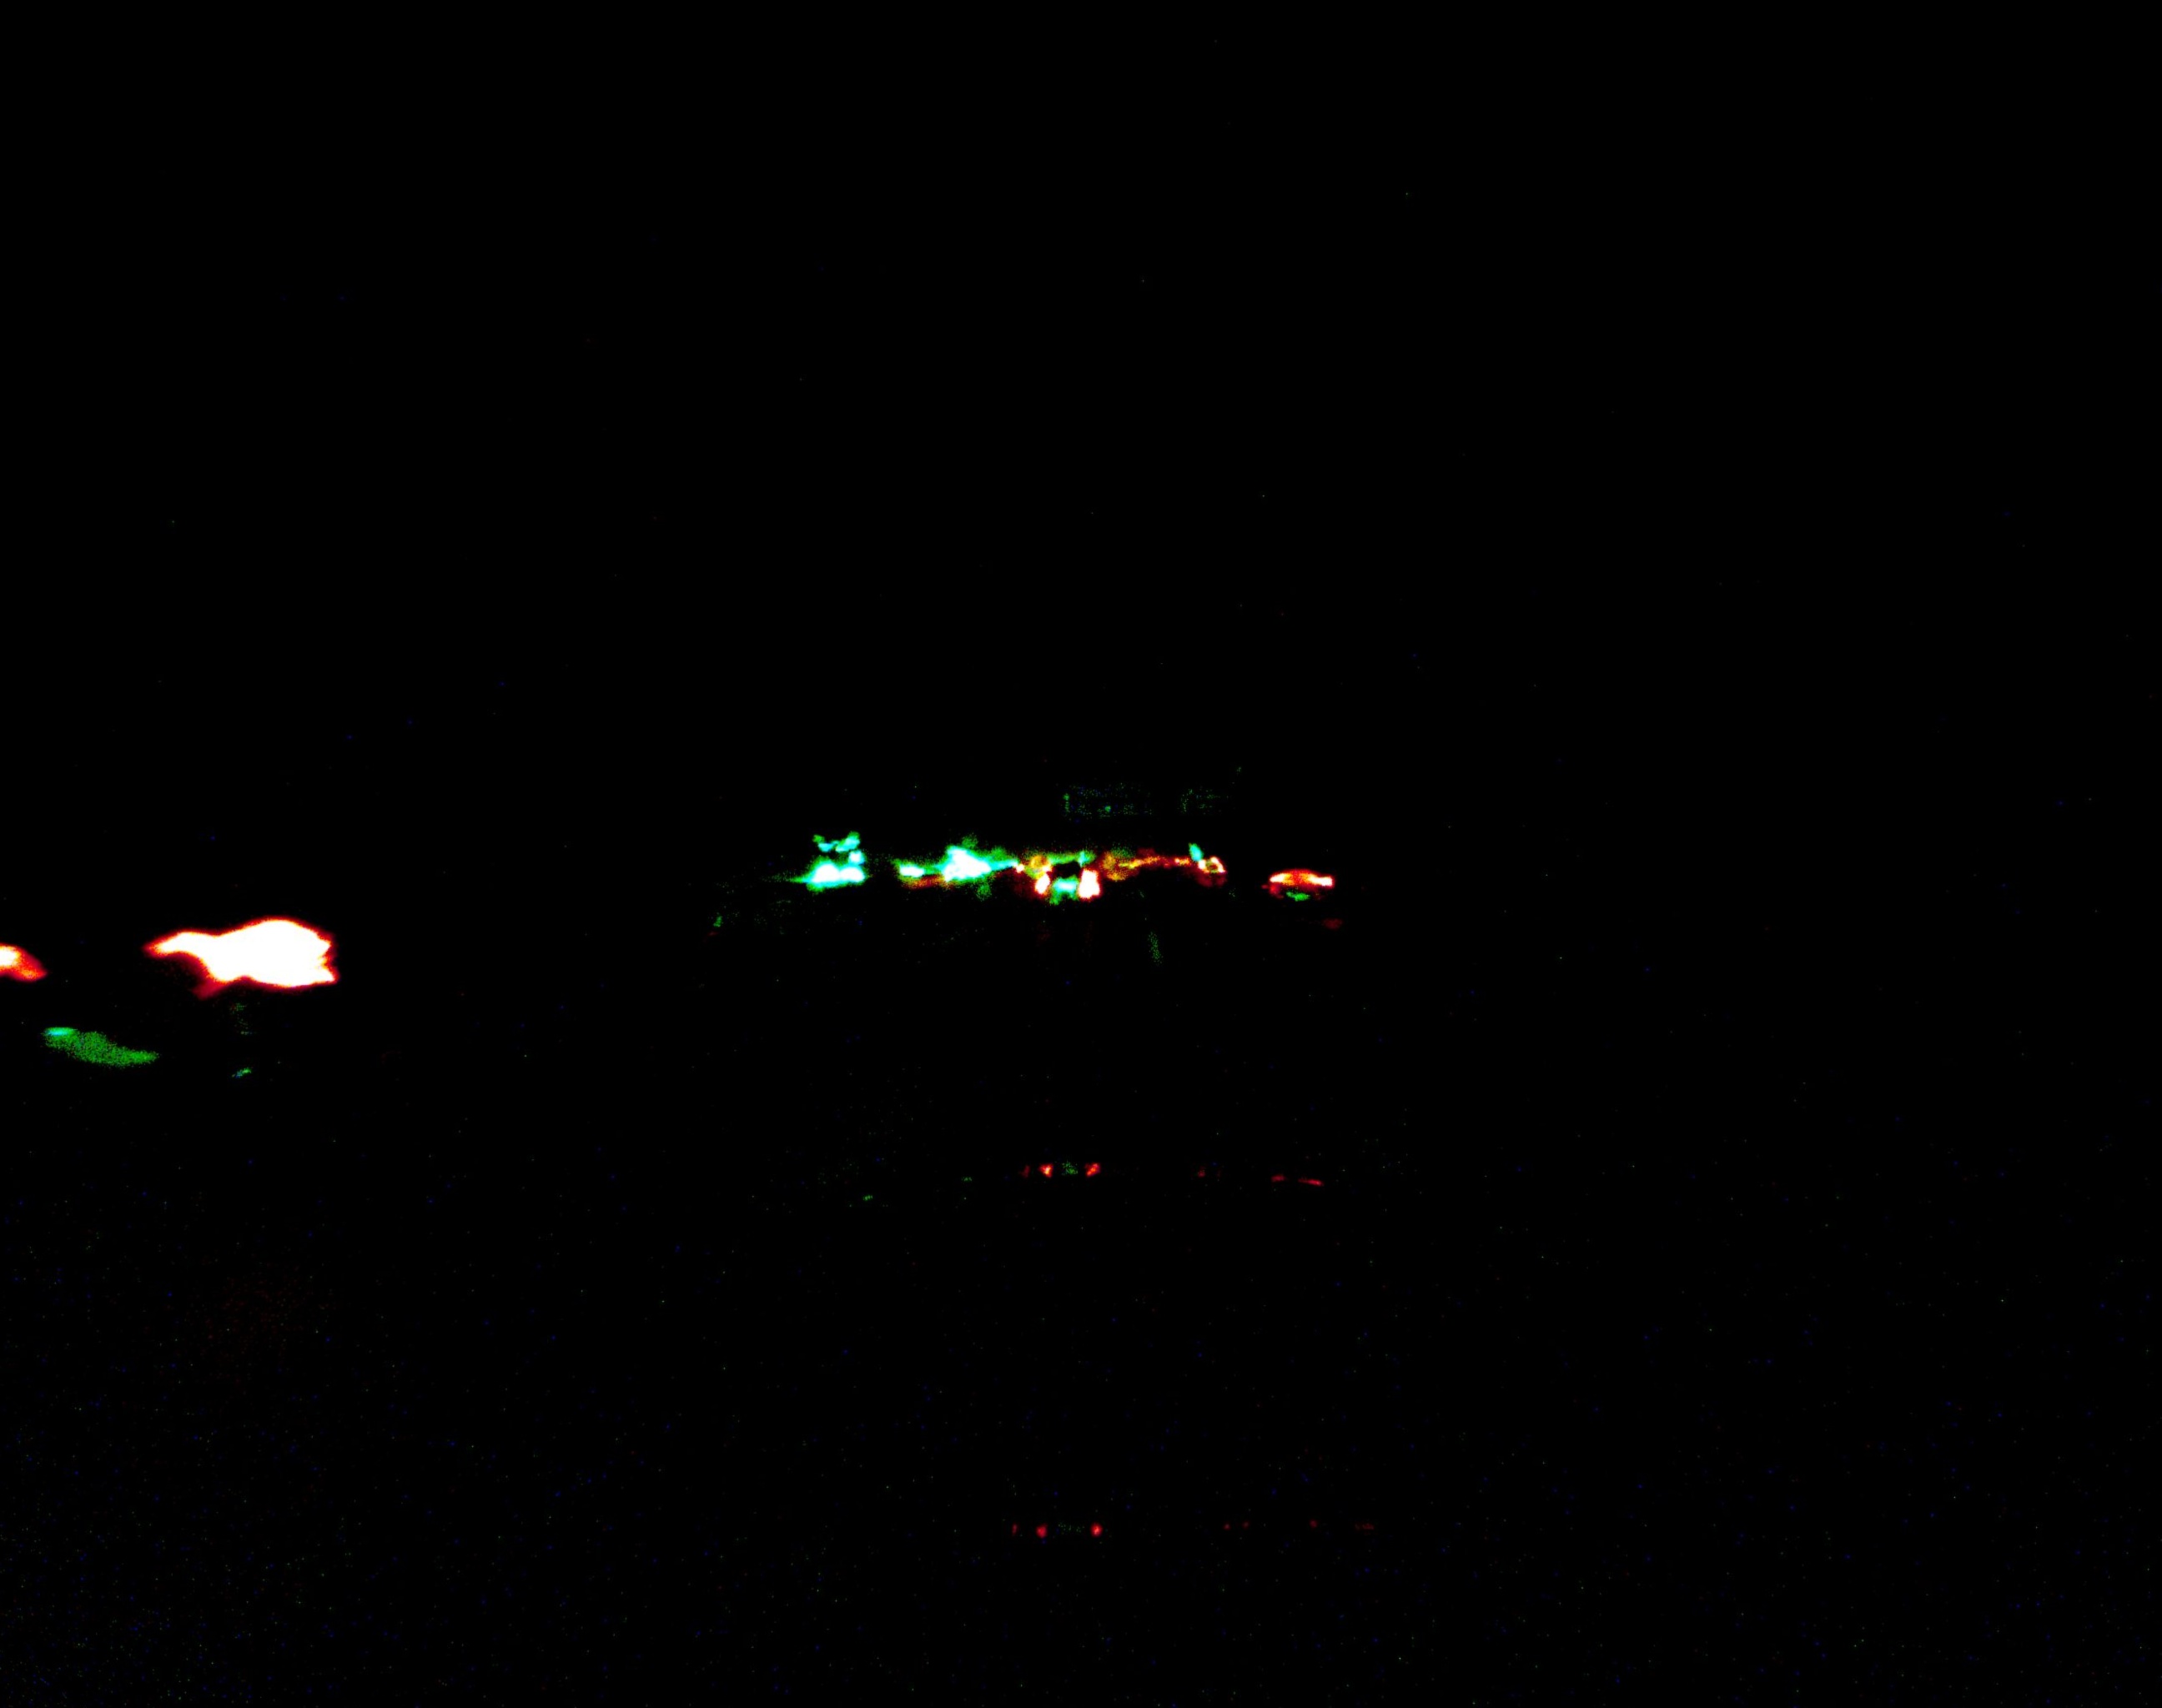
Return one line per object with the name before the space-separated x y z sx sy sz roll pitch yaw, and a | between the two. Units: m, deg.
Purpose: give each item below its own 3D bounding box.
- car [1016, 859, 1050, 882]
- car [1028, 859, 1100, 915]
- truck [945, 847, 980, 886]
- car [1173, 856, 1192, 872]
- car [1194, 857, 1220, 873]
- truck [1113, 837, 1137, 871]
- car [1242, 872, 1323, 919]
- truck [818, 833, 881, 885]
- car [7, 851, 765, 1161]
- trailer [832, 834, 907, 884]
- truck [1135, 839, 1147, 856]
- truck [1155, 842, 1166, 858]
car | -2.855 0.966 48.794 1.656 1.236 3.762 -4 -1 1
car | -0.411 0.901 24.016 1.794 1.487 4.003 -1 0 3
truck | -15.963 1.669 110.382 2.910 4.849 7.583 -4 -1 3
car | 11.070 1.070 88.667 1.854 1.618 4.005 -1 0 4
car | 10.071 0.872 65.445 1.576 1.246 3.067 0 0 -1
truck | 4.362 0.049 80.071 1.984 3.042 6.473 -4 -1 4
car | 5.851 1.173 23.925 1.576 1.246 3.067 0 0 -1
truck | -18.253 0.398 64.691 2.686 3.759 6.457 -4 -1 2
car | -4.545 0.789 6.601 1.850 1.540 4.755 -1 1 3
trailer | -18.037 0.457 70.340 2.686 3.748 12.026 -4 -1 2
truck | 11.264 -1.155 151.908 1.984 3.042 6.473 -4 -1 4
truck | 16.411 -0.806 169.268 1.984 3.042 6.473 -4 -1 4
